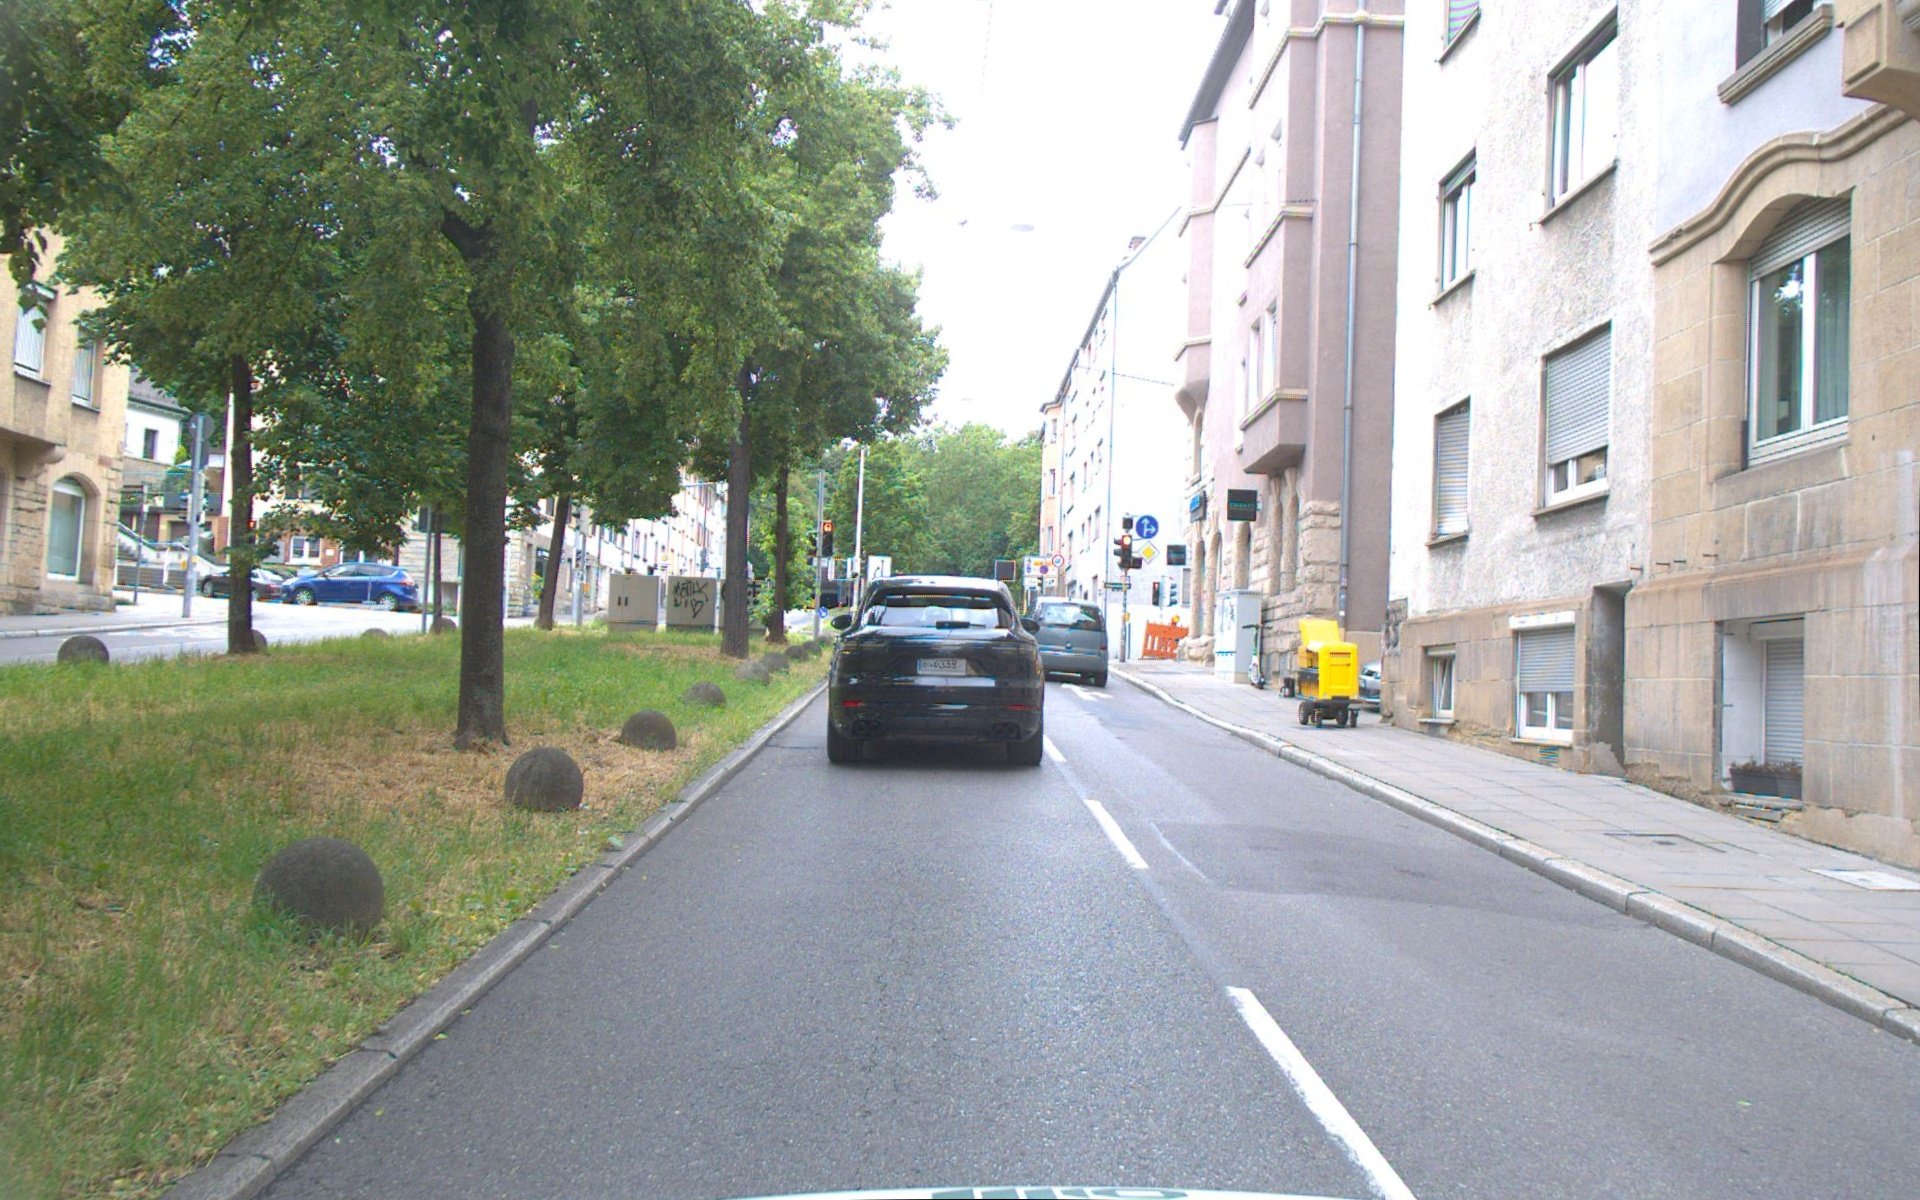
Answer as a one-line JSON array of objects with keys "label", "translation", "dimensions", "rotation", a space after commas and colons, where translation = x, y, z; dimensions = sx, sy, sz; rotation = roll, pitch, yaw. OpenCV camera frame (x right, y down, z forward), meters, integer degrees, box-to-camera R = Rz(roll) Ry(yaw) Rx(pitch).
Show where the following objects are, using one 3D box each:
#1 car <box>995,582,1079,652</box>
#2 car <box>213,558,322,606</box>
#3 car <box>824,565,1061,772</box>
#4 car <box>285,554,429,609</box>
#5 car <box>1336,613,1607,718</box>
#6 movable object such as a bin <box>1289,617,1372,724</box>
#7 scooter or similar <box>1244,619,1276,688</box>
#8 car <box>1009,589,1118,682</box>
[{"label": "car", "translation": [1.962, 0.435, 43.151], "dimensions": [1.953, 1.682, 3.999], "rotation": [2, -1, 0]}, {"label": "car", "translation": [-26.266, -0.678, 62.703], "dimensions": [3.916, 1.694, 1.877], "rotation": [1, -2, 33]}, {"label": "car", "translation": [-0.149, 0.556, 15.919], "dimensions": [1.953, 1.681, 4.000], "rotation": [2, 1, 0]}, {"label": "car", "translation": [-19.777, -0.607, 54.410], "dimensions": [4.128, 1.536, 1.796], "rotation": [3, 0, -10]}, {"label": "car", "translation": [8.477, 1.073, 27.655], "dimensions": [3.906, 1.427, 1.800], "rotation": [3, 2, -1]}, {"label": "movable object such as a bin", "translation": [5.230, 0.980, 23.443], "dimensions": [0.705, 1.446, 1.692], "rotation": [1, -1, -3]}, {"label": "scooter or similar", "translation": [5.607, 0.994, 30.982], "dimensions": [0.392, 1.209, 1.355], "rotation": [1, 1, 3]}, {"label": "car", "translation": [1.994, 0.660, 32.783], "dimensions": [1.717, 1.621, 3.629], "rotation": [4, 0, -2]}]
